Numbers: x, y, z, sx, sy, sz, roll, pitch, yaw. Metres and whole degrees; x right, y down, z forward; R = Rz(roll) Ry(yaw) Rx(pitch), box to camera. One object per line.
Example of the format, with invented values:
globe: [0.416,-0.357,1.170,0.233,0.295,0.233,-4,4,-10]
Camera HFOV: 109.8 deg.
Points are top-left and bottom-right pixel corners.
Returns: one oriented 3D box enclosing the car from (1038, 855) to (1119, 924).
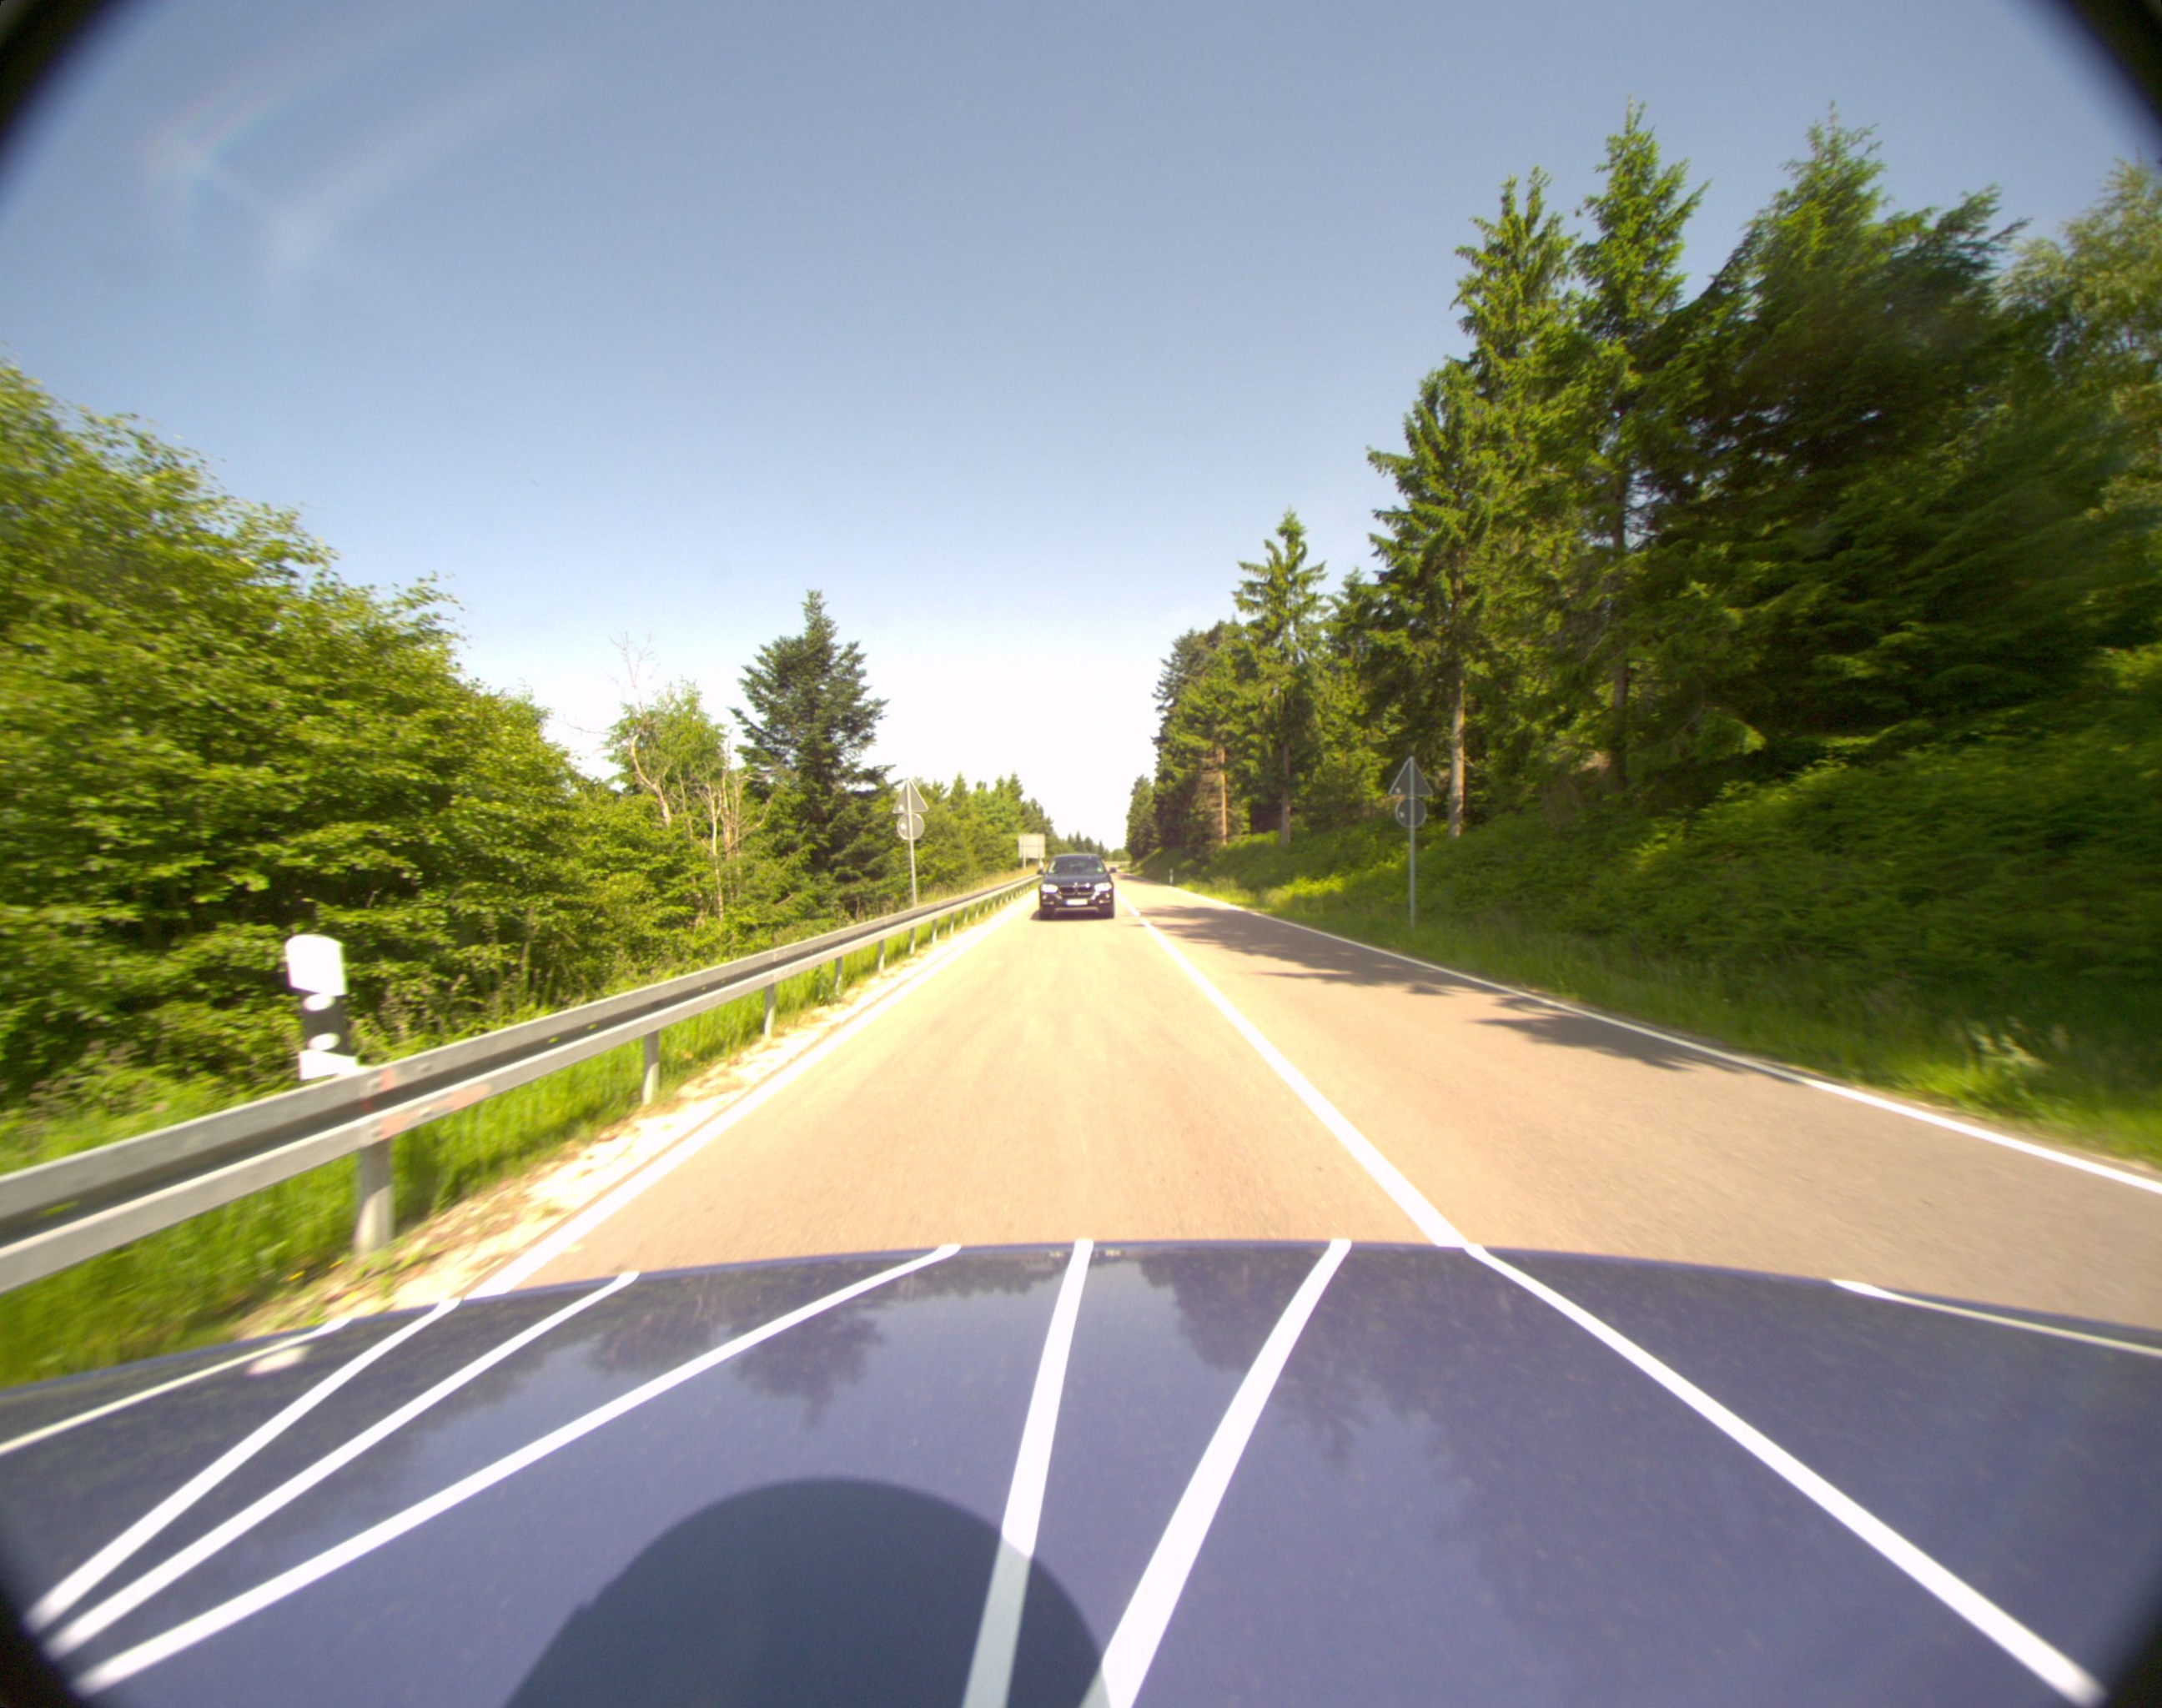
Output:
car: [-0.106,0.890,21.800,1.999,1.676,5.936,-1,0,-1]
